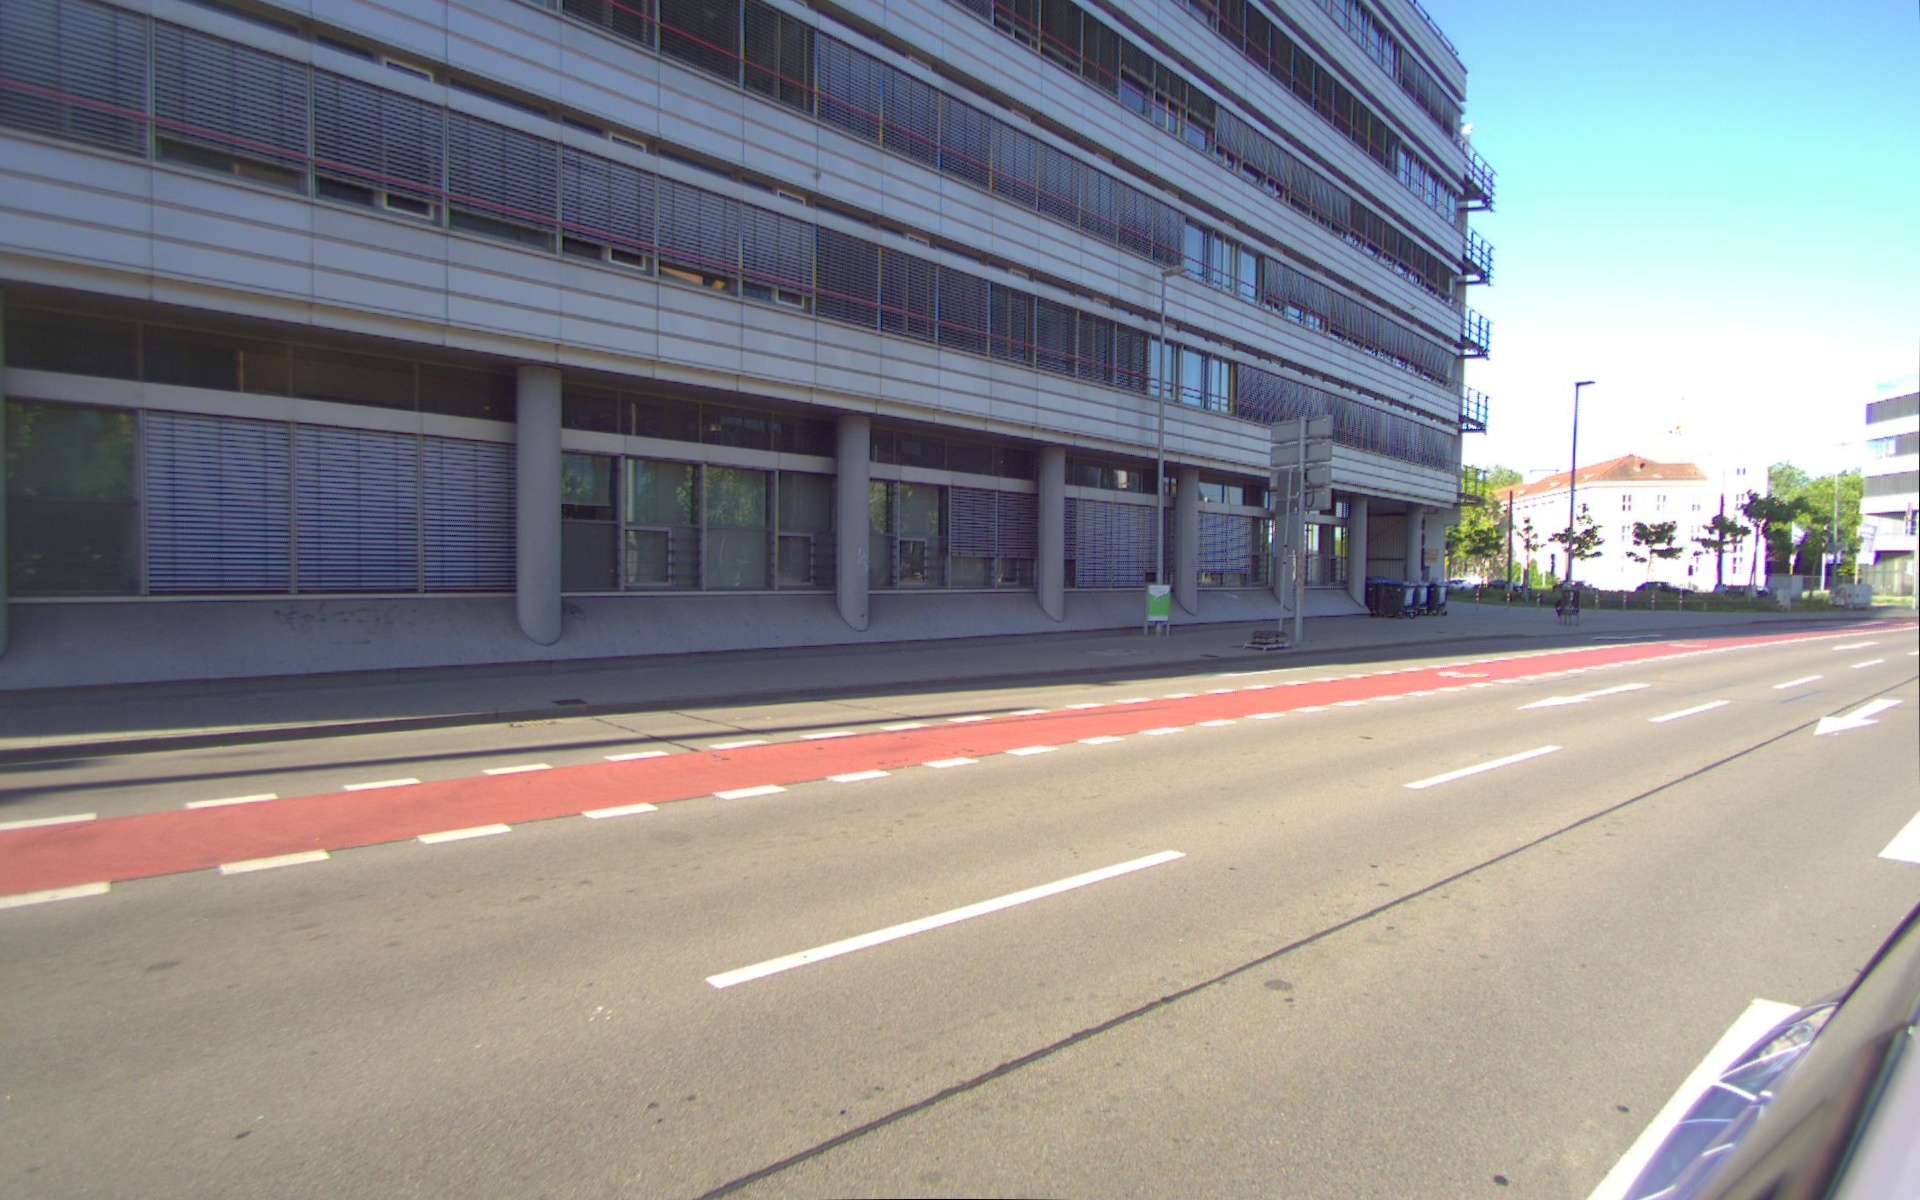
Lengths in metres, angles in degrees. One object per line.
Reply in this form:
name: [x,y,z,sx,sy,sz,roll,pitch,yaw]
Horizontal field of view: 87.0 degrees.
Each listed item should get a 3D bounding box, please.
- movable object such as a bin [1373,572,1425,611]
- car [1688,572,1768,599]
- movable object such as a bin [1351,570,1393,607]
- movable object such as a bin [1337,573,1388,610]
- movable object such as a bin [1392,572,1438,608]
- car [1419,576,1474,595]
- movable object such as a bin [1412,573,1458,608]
movable object such as a bin: [15.638,-0.316,36.078,1.153,1.317,1.327,-1,2,-40]
car: [46.183,-0.888,60.988,1.706,1.550,3.806,0,2,-4]
movable object such as a bin: [15.806,-0.460,38.813,1.089,1.391,1.109,-1,2,-40]
movable object such as a bin: [14.758,-0.324,37.119,1.153,1.317,1.327,-1,2,-40]
movable object such as a bin: [17.427,-0.397,38.755,1.305,1.317,1.173,-1,2,-40]
car: [40.327,-1.217,83.927,1.705,1.550,3.807,0,2,-28]
movable object such as a bin: [18.536,-0.398,39.489,1.305,1.317,1.173,-1,2,-40]
